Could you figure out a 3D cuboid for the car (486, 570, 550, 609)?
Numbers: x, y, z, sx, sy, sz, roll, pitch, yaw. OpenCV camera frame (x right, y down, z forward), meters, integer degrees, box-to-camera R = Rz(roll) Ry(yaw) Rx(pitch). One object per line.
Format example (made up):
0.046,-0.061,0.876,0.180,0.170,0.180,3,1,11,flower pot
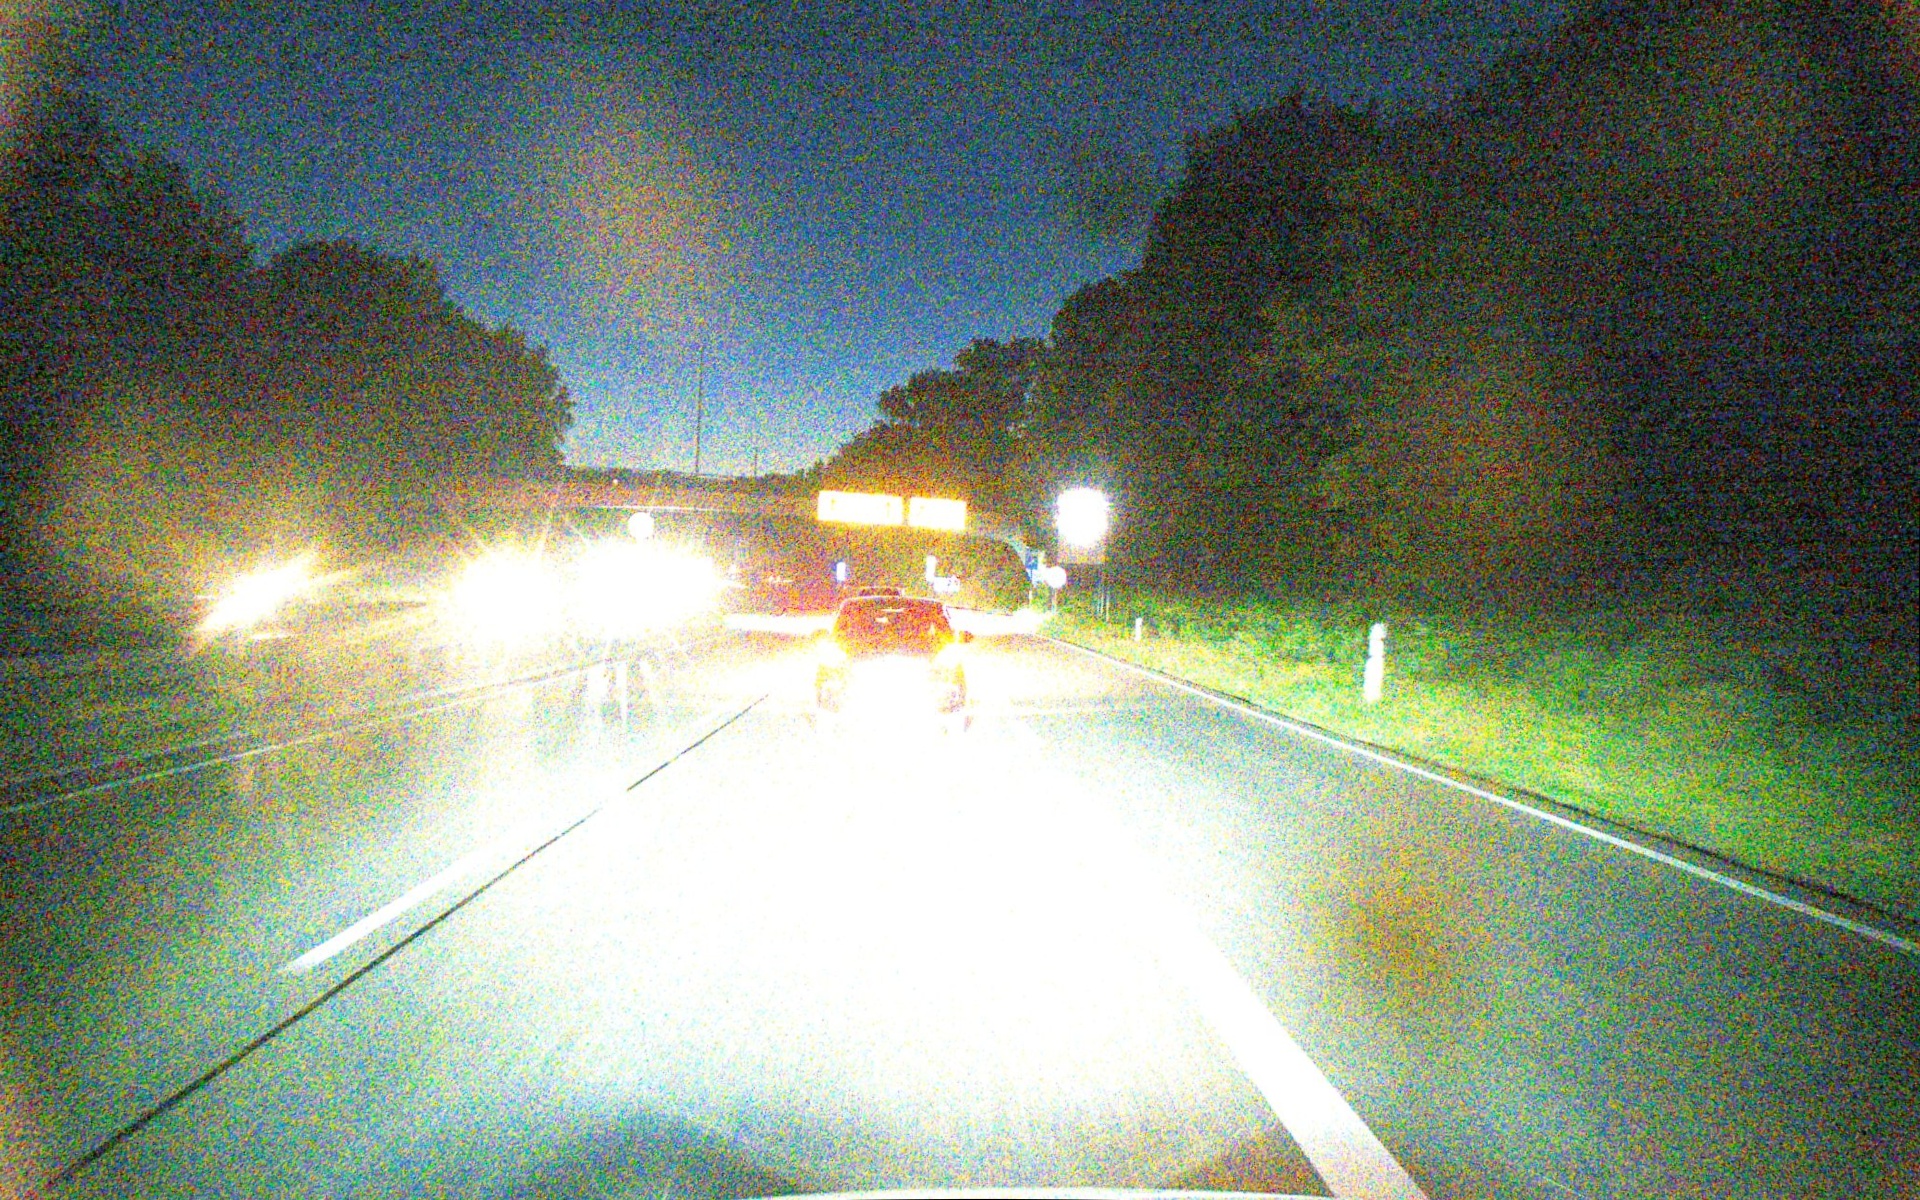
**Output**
-18.496,-0.445,69.393,1.694,1.543,4.156,2,0,-3,car

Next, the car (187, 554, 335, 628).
-16.811,-0.206,39.995,1.824,1.541,3.999,5,0,-1,car

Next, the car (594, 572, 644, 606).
-19.334,-0.631,93.935,1.928,1.794,5.030,2,0,-3,car

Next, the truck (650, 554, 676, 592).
-36.089,-3.314,201.011,2.580,4.305,8.570,5,0,-12,truck

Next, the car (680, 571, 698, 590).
-34.707,-2.513,211.761,1.956,2.305,3.994,5,0,-7,car

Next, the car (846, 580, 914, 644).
-2.409,0.313,50.139,1.868,1.727,3.999,4,1,-2,car

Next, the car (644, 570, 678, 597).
-24.413,-1.368,134.996,2.317,2.049,5.026,2,0,-6,car

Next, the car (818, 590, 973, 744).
-0.770,0.671,18.777,1.557,1.534,3.997,1,0,-3,car
